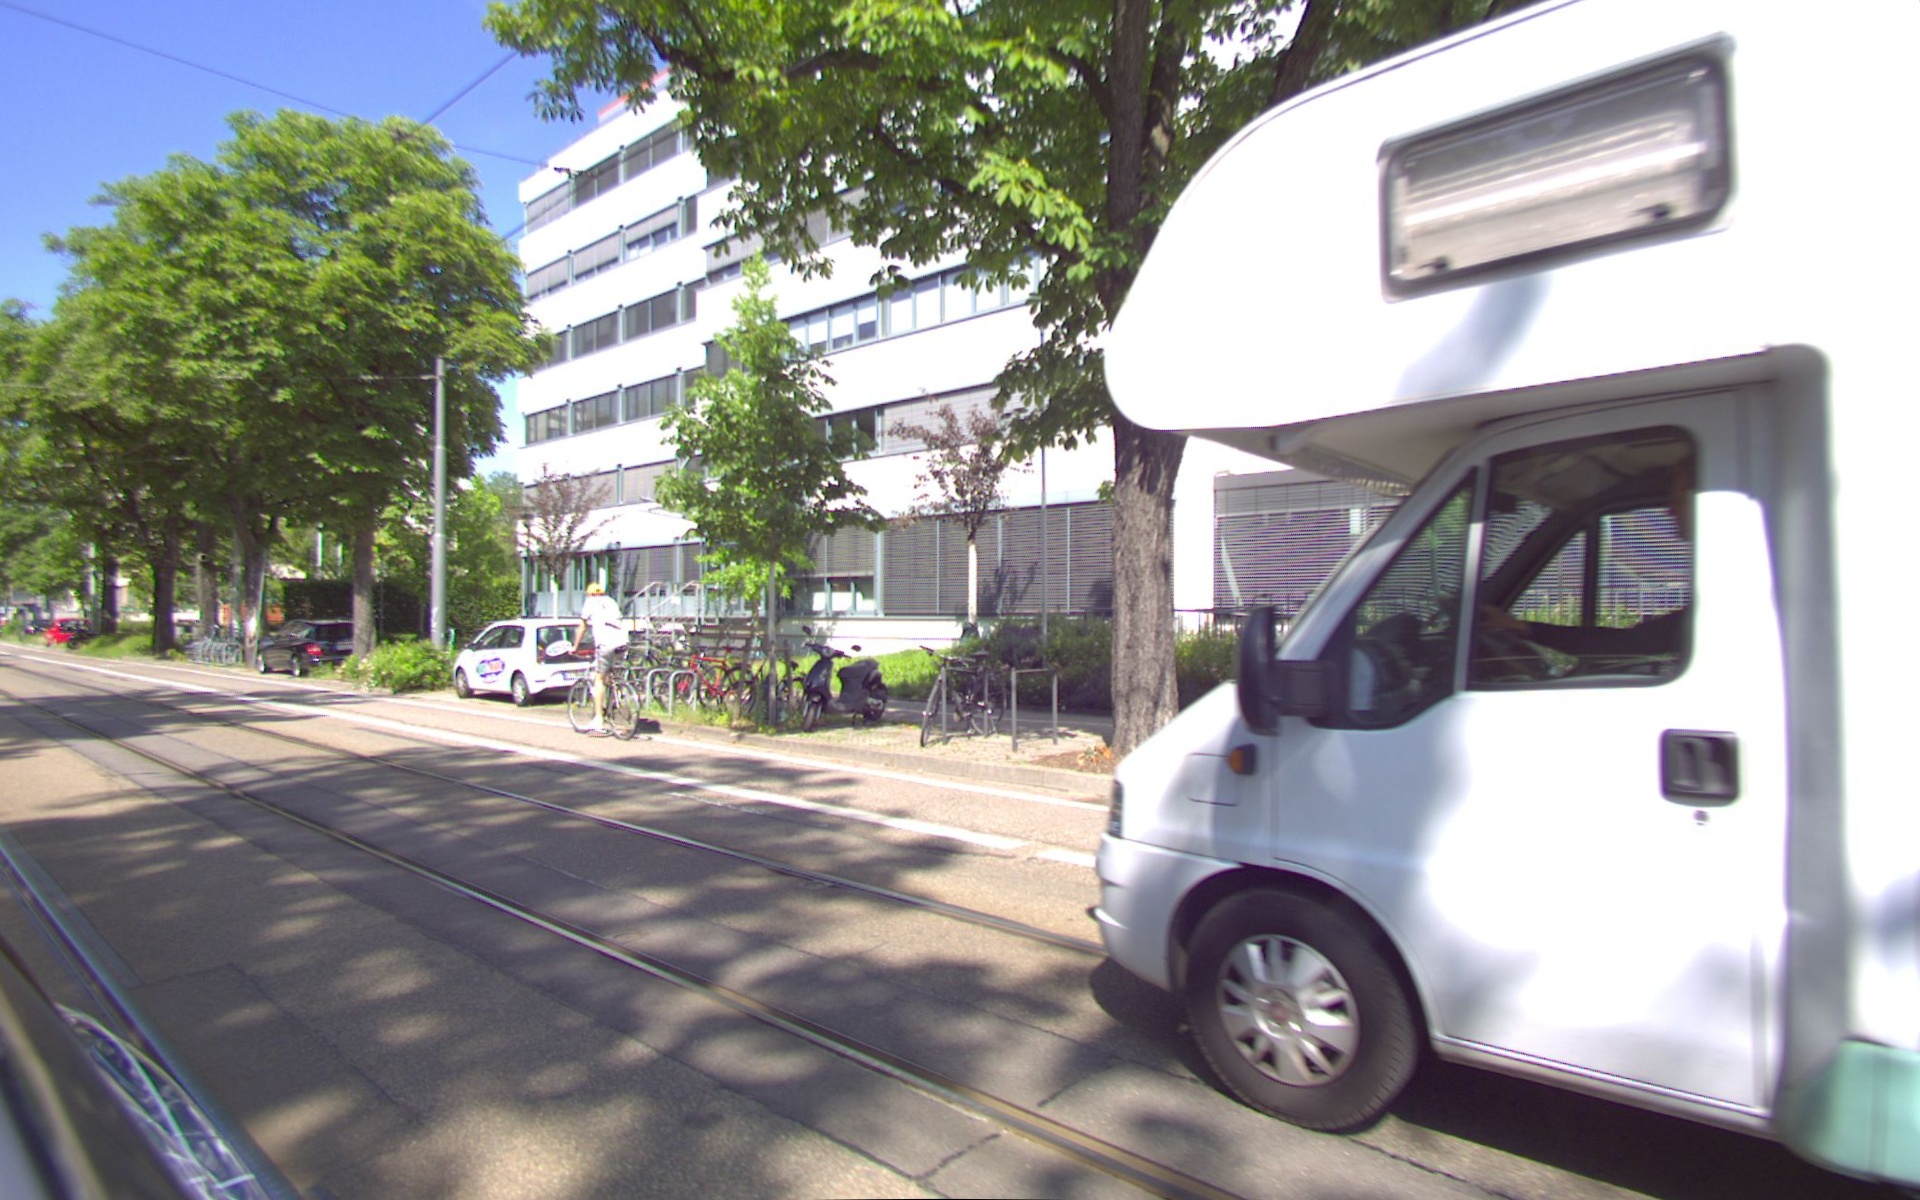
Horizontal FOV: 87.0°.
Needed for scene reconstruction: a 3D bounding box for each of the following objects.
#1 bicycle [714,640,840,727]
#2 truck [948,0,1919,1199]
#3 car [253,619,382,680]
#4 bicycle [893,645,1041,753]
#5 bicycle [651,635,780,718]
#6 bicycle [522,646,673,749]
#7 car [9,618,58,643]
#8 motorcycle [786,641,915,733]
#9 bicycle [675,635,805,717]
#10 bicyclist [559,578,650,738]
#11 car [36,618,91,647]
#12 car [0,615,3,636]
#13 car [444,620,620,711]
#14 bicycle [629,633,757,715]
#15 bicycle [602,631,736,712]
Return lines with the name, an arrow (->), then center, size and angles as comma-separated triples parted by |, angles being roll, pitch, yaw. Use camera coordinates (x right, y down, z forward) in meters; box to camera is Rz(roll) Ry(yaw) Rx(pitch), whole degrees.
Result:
bicycle -> -2.524, 1.126, 14.113 | 0.639, 1.094, 1.706 | -1, -2, 41
truck -> 2.998, -0.074, 2.351 | 6.035, 3.132, 2.377 | -1, -2, 42
car -> -17.005, 1.244, 26.717 | 4.269, 1.494, 1.613 | -1, -1, 39
bicycle -> 0.109, 1.090, 11.637 | 0.789, 1.094, 1.706 | -1, -1, 41
bicycle -> -3.625, 1.102, 15.147 | 0.680, 1.140, 1.829 | -1, -2, 41
bicycle -> -4.544, 1.161, 12.600 | 2.138, 1.118, 0.847 | -1, -1, 41
car -> -54.115, 1.763, 59.097 | 3.898, 1.365, 1.613 | -1, -1, 40
motorcycle -> -1.408, 1.102, 13.265 | 0.658, 1.094, 1.706 | -1, -2, 41
bicycle -> -3.167, 1.064, 14.726 | 0.726, 1.094, 1.774 | -1, -1, 41
bicyclist -> -4.400, 0.693, 12.520 | 1.024, 1.885, 0.629 | -1, -2, 41
car -> -46.558, 1.662, 52.551 | 3.716, 1.483, 1.613 | -1, -1, 40
car -> -70.436, 1.850, 73.072 | 4.112, 1.483, 1.612 | -1, -1, 42
car -> -7.882, 1.112, 18.516 | 3.630, 1.483, 1.612 | -1, -2, 43
bicycle -> -4.067, 1.102, 15.530 | 0.685, 1.150, 1.853 | -1, -2, 41
bicycle -> -4.558, 1.089, 15.951 | 0.818, 1.178, 1.884 | -1, -1, 41
